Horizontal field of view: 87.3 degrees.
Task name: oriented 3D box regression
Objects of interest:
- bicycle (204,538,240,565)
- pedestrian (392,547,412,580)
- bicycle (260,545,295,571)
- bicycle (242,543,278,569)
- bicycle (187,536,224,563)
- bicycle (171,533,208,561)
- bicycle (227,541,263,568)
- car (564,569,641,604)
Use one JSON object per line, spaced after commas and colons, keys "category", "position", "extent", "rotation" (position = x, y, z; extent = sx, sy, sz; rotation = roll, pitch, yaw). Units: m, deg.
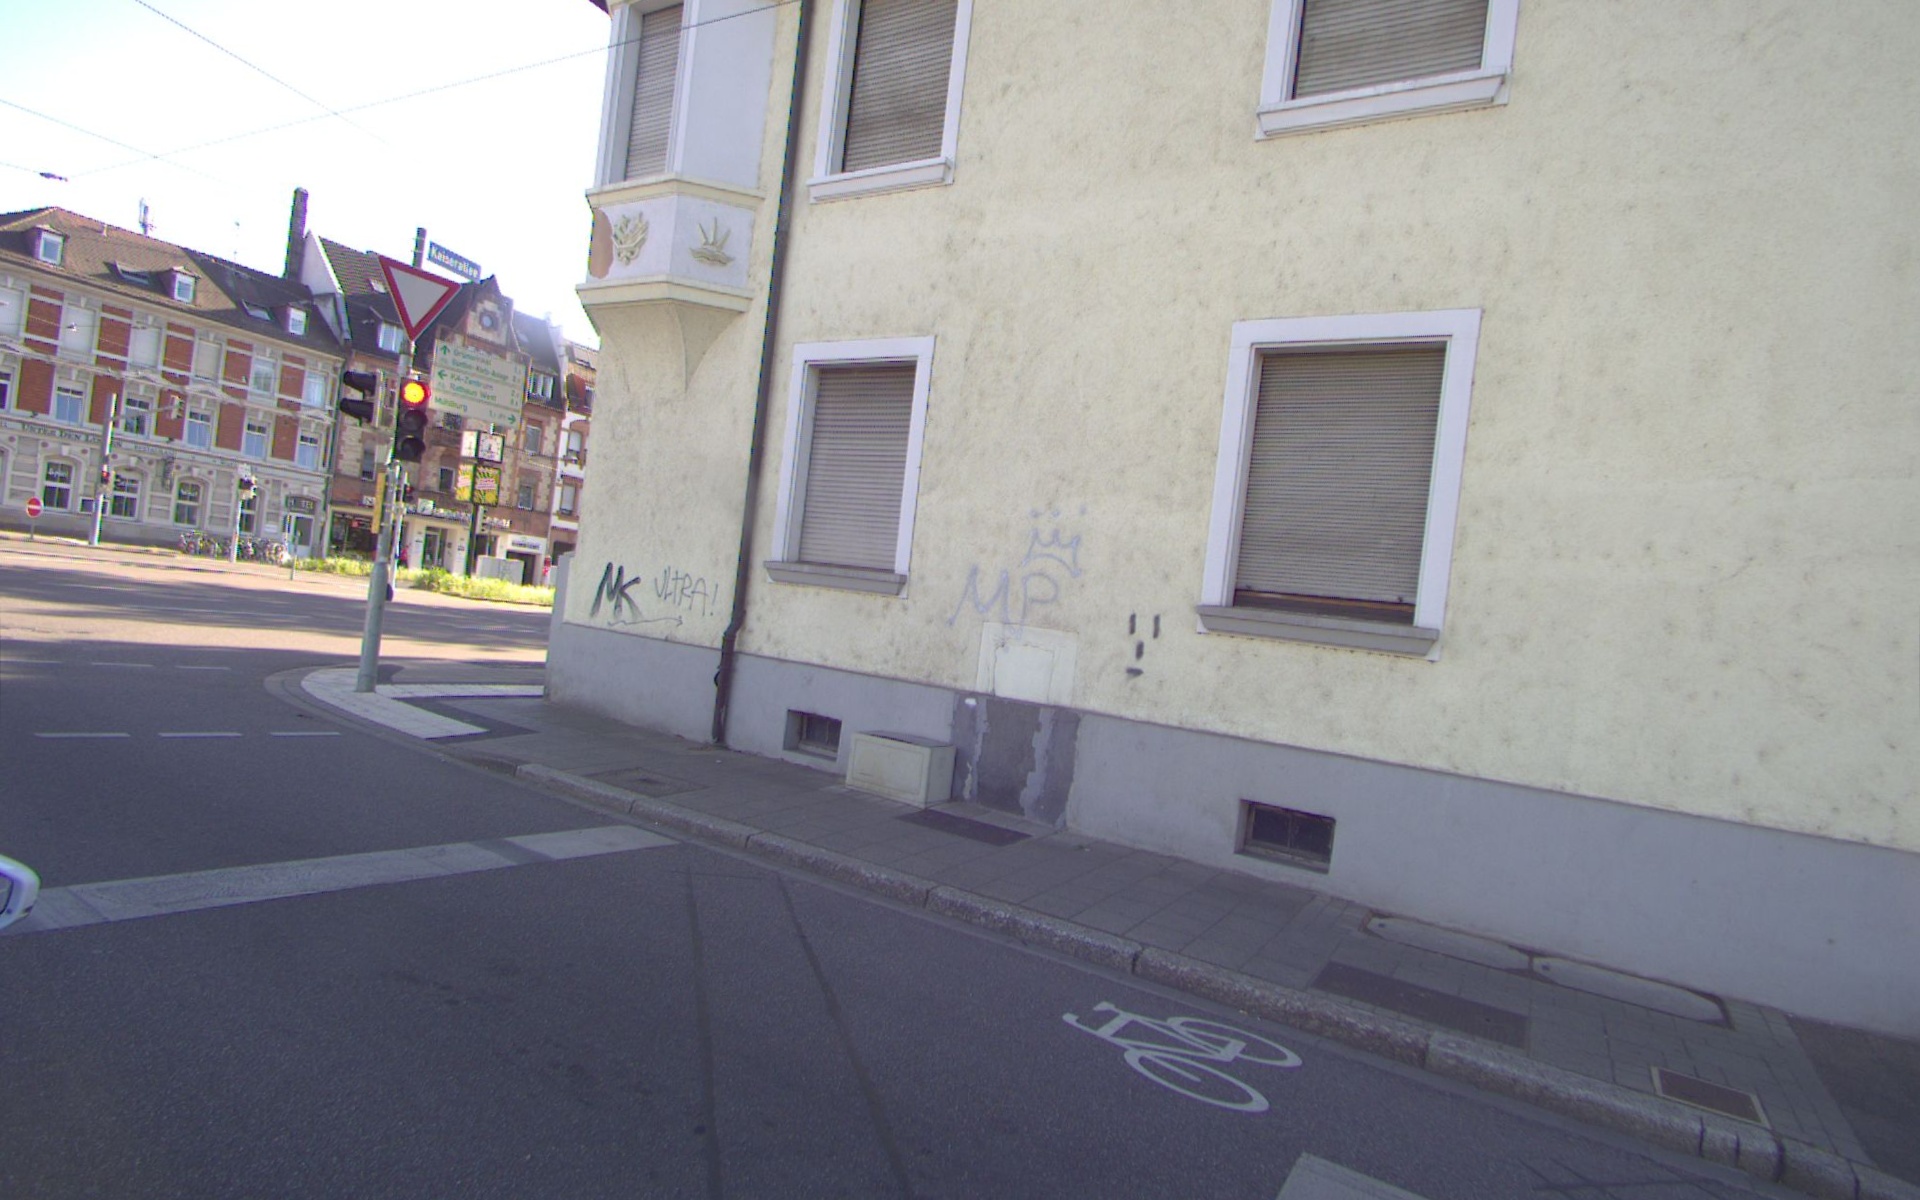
{"category": "bicycle", "position": [-34.319, -2.262, 46.767], "extent": [1.614, 1.064, 0.606], "rotation": [7, 0, 27]}
{"category": "pedestrian", "position": [-31.486, -2.035, 56.771], "extent": [0.414, 1.773, 0.709], "rotation": [7, 0, 33]}
{"category": "bicycle", "position": [-32.985, -2.013, 48.585], "extent": [1.614, 1.064, 0.606], "rotation": [7, 0, 27]}
{"category": "bicycle", "position": [-33.359, -2.088, 47.948], "extent": [1.614, 1.064, 0.606], "rotation": [7, 0, 27]}
{"category": "bicycle", "position": [-34.650, -2.329, 46.192], "extent": [1.614, 1.064, 0.606], "rotation": [7, 0, 27]}
{"category": "bicycle", "position": [-34.949, -2.391, 45.609], "extent": [1.614, 1.064, 0.606], "rotation": [7, 0, 27]}
{"category": "bicycle", "position": [-33.653, -2.151, 47.337], "extent": [1.614, 1.064, 0.606], "rotation": [7, 0, 27]}
{"category": "car", "position": [-23.126, -0.862, 65.305], "extent": [1.966, 1.674, 4.378], "rotation": [7, -1, 29]}
